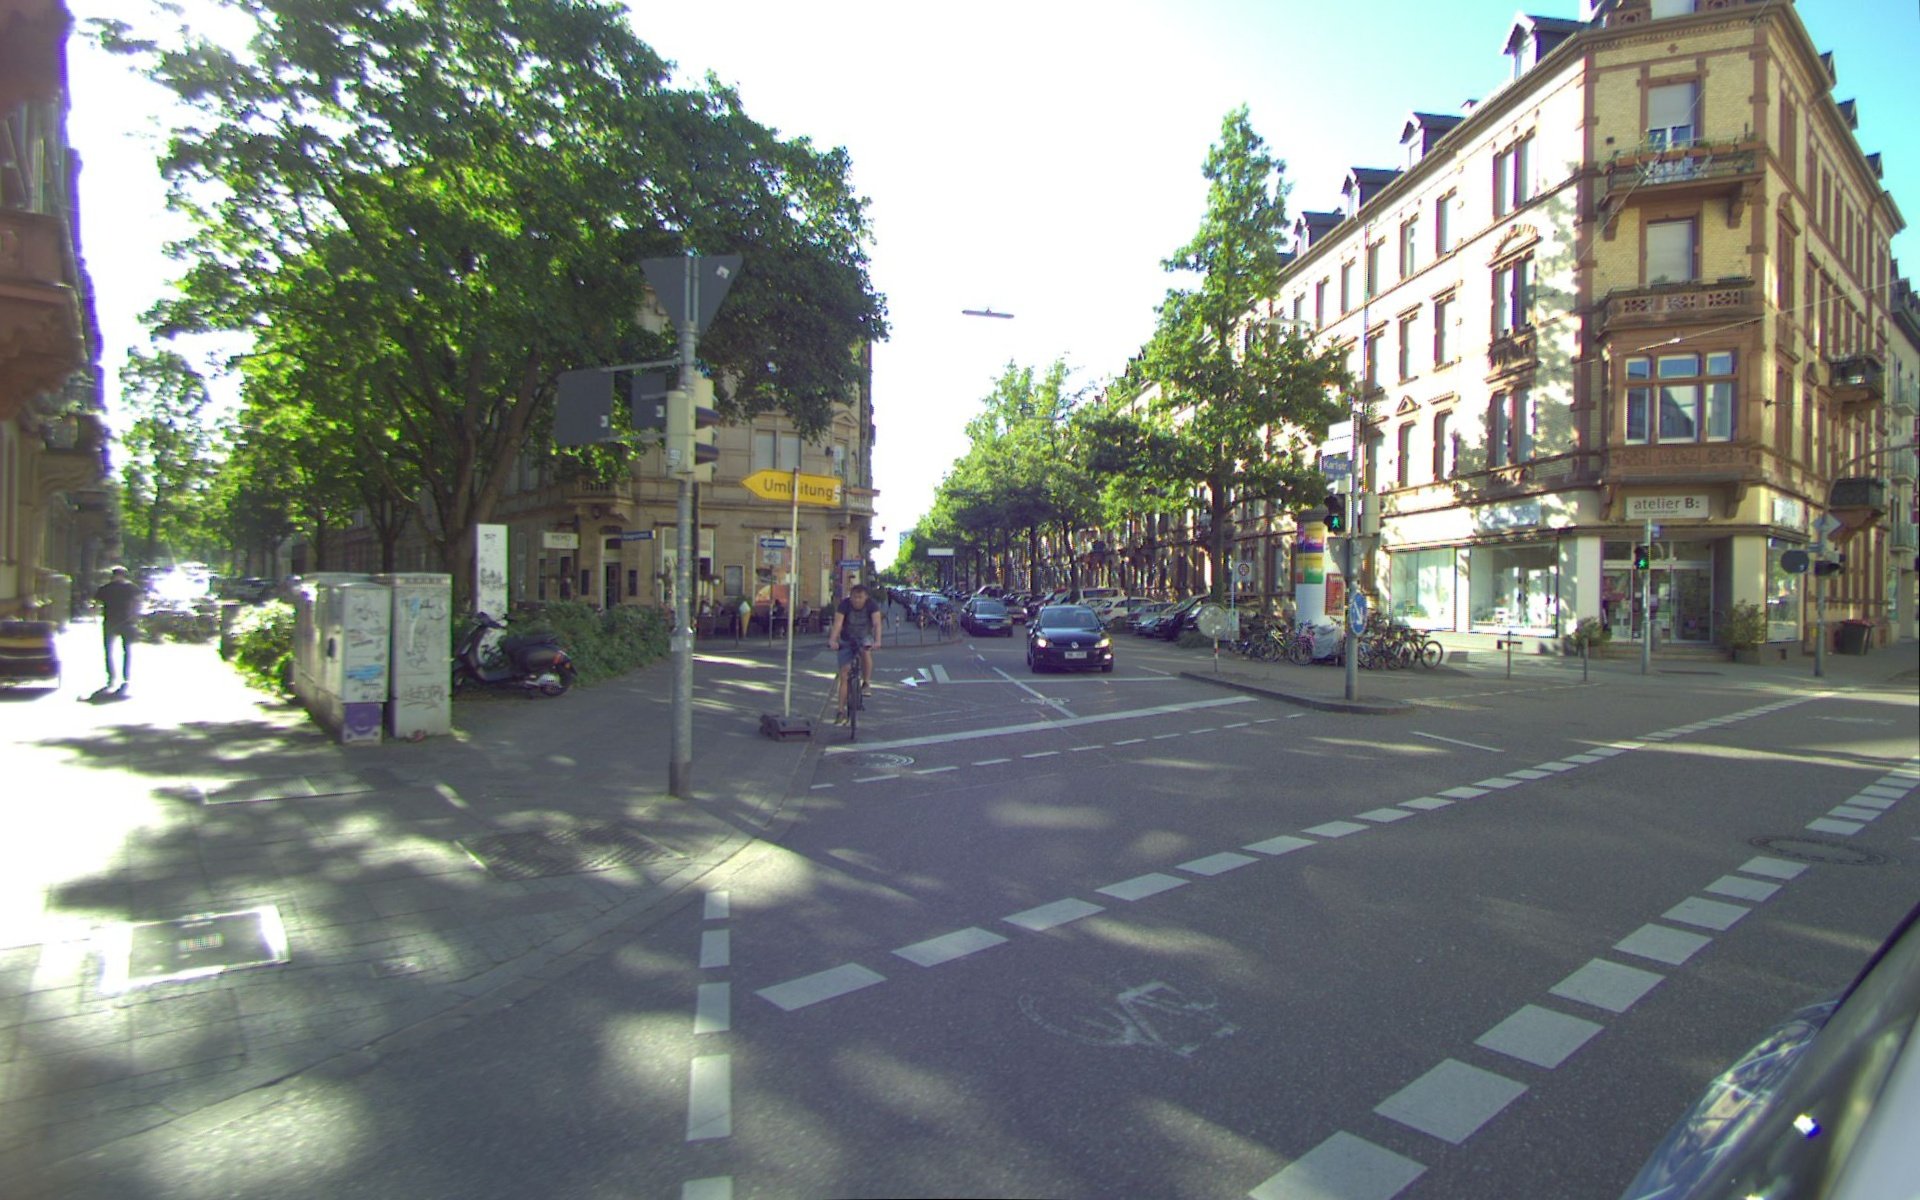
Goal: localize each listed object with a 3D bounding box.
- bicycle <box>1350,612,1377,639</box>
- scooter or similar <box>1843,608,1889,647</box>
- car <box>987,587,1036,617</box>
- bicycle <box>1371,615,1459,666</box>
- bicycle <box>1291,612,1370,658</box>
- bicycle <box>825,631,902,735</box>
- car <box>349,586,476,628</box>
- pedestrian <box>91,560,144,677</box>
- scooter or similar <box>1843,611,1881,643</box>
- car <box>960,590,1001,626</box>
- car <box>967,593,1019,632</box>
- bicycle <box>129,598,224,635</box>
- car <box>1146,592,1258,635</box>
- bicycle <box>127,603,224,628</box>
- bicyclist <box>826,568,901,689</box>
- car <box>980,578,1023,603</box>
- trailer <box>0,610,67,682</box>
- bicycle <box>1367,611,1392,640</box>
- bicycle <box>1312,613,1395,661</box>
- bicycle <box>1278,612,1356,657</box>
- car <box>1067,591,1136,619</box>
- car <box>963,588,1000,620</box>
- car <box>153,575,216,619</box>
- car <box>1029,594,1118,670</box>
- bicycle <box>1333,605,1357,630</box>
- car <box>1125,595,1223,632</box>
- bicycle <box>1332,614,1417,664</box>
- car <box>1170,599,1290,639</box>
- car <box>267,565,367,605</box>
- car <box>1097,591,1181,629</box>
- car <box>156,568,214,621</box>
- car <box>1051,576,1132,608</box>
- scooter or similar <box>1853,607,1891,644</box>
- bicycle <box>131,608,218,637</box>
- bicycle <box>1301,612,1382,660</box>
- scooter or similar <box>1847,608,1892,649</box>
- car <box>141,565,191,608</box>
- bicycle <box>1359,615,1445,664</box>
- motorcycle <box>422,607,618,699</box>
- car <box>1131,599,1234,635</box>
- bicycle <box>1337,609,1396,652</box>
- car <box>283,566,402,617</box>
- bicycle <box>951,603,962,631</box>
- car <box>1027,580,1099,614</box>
[{"bbox_3d":[15.233,0.941,38.257,0.389,0.969,1.288,1,0,-5],"label":"bicycle"},{"bbox_3d":[29.026,0.874,32.431,0.639,1.162,0.935,1,4,-42],"label":"scooter or similar"},{"bbox_3d":[2.905,0.069,57.681,1.807,1.625,4.258,0,1,-11],"label":"car"},{"bbox_3d":[11.111,0.973,24.720,2.075,1.157,0.619,-1,1,-18],"label":"bicycle"},{"bbox_3d":[10.085,0.937,27.549,2.076,1.157,0.619,-2,1,-18],"label":"bicycle"},{"bbox_3d":[-1.166,0.941,12.126,0.830,1.058,2.099,0,0,-6],"label":"bicycle"},{"bbox_3d":[-20.538,0.239,38.149,1.619,1.450,4.146,1,0,22],"label":"car"},{"bbox_3d":[-12.594,0.269,15.134,0.567,1.704,0.537,1,-2,-43],"label":"pedestrian"},{"bbox_3d":[29.502,0.878,33.105,0.668,0.968,0.792,1,4,-42],"label":"scooter or similar"},{"bbox_3d":[1.007,0.336,48.427,1.812,1.625,4.247,0,1,3],"label":"car"},{"bbox_3d":[1.350,0.496,42.934,1.809,1.517,4.254,0,1,-4],"label":"car"},{"bbox_3d":[-23.242,0.496,30.084,2.119,0.899,1.017,6,-2,-35],"label":"bicycle"},{"bbox_3d":[9.625,0.515,40.363,3.917,1.621,1.829,1,0,-10],"label":"car"},{"bbox_3d":[-22.207,0.427,28.708,2.119,0.658,1.017,1,1,-35],"label":"bicycle"},{"bbox_3d":[-1.148,0.315,12.014,0.821,1.360,1.136,1,0,-6],"label":"bicyclist"},{"bbox_3d":[4.034,-0.909,98.672,3.917,2.351,1.554,1,0,-9],"label":"car"},{"bbox_3d":[-12.854,0.628,13.925,0.817,0.935,0.781,3,-1,-42],"label":"trailer"},{"bbox_3d":[15.163,0.912,36.598,0.389,1.016,1.000,1,0,-5],"label":"bicycle"},{"bbox_3d":[10.245,0.955,26.371,2.076,1.157,0.619,-2,1,-18],"label":"bicycle"},{"bbox_3d":[9.915,0.938,28.124,2.076,1.157,0.619,-2,1,-18],"label":"bicycle"},{"bbox_3d":[8.094,0.301,58.153,3.608,1.544,1.554,1,0,-9],"label":"car"},{"bbox_3d":[1.163,0.178,53.441,1.812,1.625,4.247,1,0,3],"label":"car"},{"bbox_3d":[-26.765,-0.132,35.022,1.532,1.446,3.809,1,1,-35],"label":"car"},{"bbox_3d":[2.514,0.645,22.872,1.813,1.517,4.245,0,1,5],"label":"car"},{"bbox_3d":[15.065,0.676,39.620,0.389,0.969,1.288,1,0,-4],"label":"bicycle"},{"bbox_3d":[9.456,0.593,44.864,3.917,1.544,1.554,1,0,-10],"label":"car"},{"bbox_3d":[10.513,0.964,25.666,2.076,1.157,0.619,-2,1,-18],"label":"bicycle"},{"bbox_3d":[10.139,0.690,38.070,3.917,1.388,1.829,1,0,-10],"label":"car"},{"bbox_3d":[-31.992,-0.731,50.510,1.973,1.886,3.983,1,0,13],"label":"car"},{"bbox_3d":[8.896,0.492,50.350,3.784,1.780,1.523,1,0,-10],"label":"car"},{"bbox_3d":[-30.257,-0.235,39.476,1.608,1.886,3.996,4,-1,-39],"label":"car"},{"bbox_3d":[7.996,-0.502,61.731,4.577,1.855,1.553,1,0,-5],"label":"car"},{"bbox_3d":[30.531,0.851,33.878,0.776,1.162,0.792,1,4,-42],"label":"scooter or similar"},{"bbox_3d":[-24.243,0.695,31.300,2.014,0.741,1.017,6,-2,-35],"label":"bicycle"},{"bbox_3d":[10.159,0.945,26.917,2.076,1.157,0.619,-2,1,-18],"label":"bicycle"},{"bbox_3d":[28.351,0.876,31.546,0.538,1.162,0.899,1,4,-42],"label":"scooter or similar"},{"bbox_3d":[-36.062,-0.614,45.989,1.711,1.886,3.997,1,0,-38],"label":"car"},{"bbox_3d":[11.008,0.969,25.179,2.075,1.157,0.619,0,1,-18],"label":"bicycle"},{"bbox_3d":[-5.947,0.702,13.788,2.348,1.139,0.612,2,-1,-42],"label":"motorcycle"},{"bbox_3d":[9.378,0.709,42.724,3.917,1.374,1.554,1,0,-10],"label":"car"},{"bbox_3d":[11.657,0.856,29.022,1.583,1.157,0.545,-1,1,-18],"label":"bicycle"},{"bbox_3d":[-24.996,-0.382,41.114,1.619,1.885,3.971,3,2,22],"label":"car"},{"bbox_3d":[-0.156,0.680,40.743,0.390,1.056,1.879,1,0,-1],"label":"bicycle"},{"bbox_3d":[6.888,-0.212,67.924,4.381,2.230,1.850,1,0,-9],"label":"car"}]
